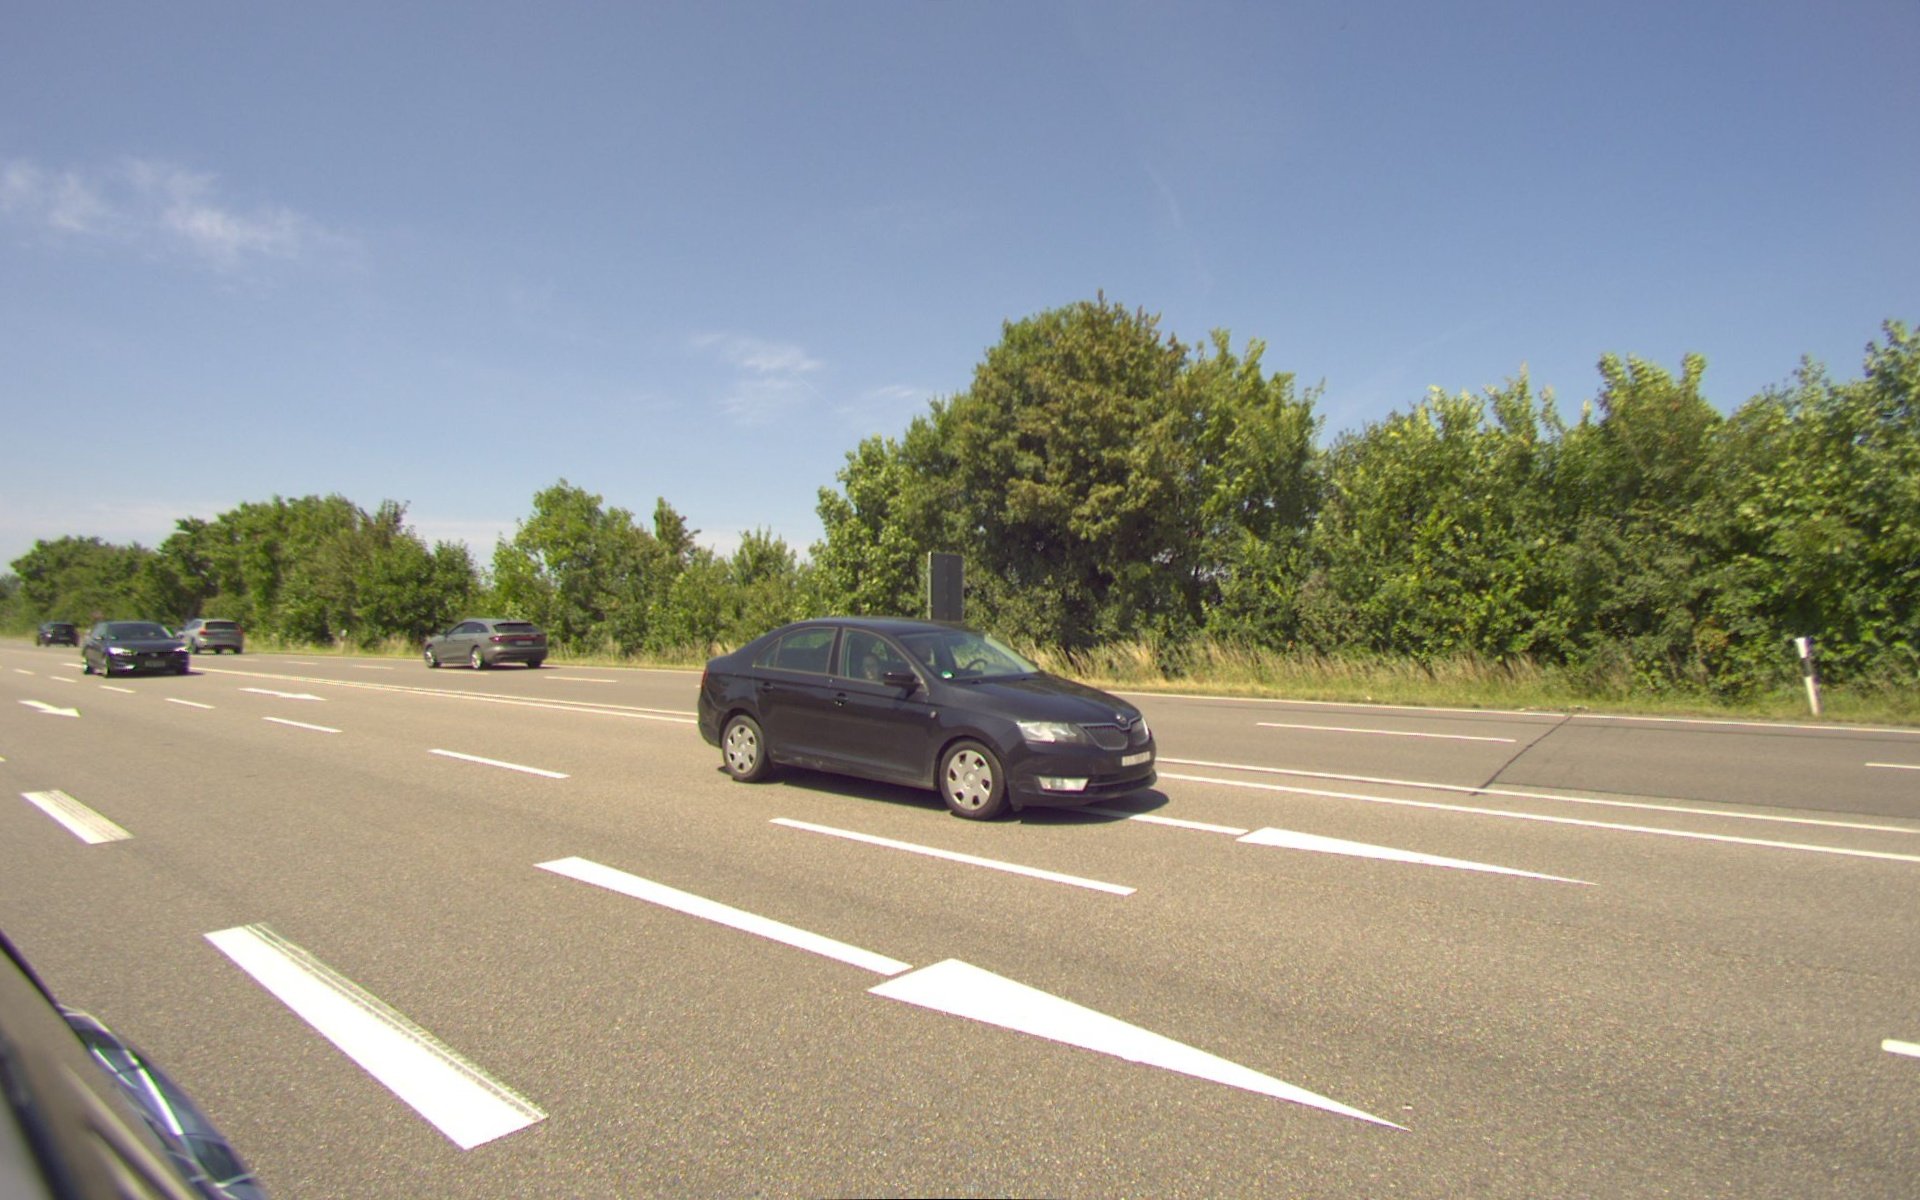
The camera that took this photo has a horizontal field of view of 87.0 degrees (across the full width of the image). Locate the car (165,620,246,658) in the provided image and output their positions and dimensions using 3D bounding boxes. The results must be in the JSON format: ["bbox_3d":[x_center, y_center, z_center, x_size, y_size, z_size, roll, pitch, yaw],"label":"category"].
[{"bbox_3d":[-35.764,1.801,47.915,4.564,1.652,2.008,-1,-1,39],"label":"car"}]

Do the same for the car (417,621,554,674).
[{"bbox_3d":[-13.928,1.327,29.610,4.526,1.409,1.860,-1,-1,39],"label":"car"}]

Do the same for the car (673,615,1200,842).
[{"bbox_3d":[-0.411,0.852,8.507,4.464,1.422,1.658,-1,-1,40],"label":"car"}]

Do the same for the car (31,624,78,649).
[{"bbox_3d":[-57.280,2.296,64.012,3.554,1.499,1.629,-1,-1,39],"label":"car"}]

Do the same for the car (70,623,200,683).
[{"bbox_3d":[-22.396,1.366,27.418,4.521,1.458,1.870,-1,-1,39],"label":"car"}]
